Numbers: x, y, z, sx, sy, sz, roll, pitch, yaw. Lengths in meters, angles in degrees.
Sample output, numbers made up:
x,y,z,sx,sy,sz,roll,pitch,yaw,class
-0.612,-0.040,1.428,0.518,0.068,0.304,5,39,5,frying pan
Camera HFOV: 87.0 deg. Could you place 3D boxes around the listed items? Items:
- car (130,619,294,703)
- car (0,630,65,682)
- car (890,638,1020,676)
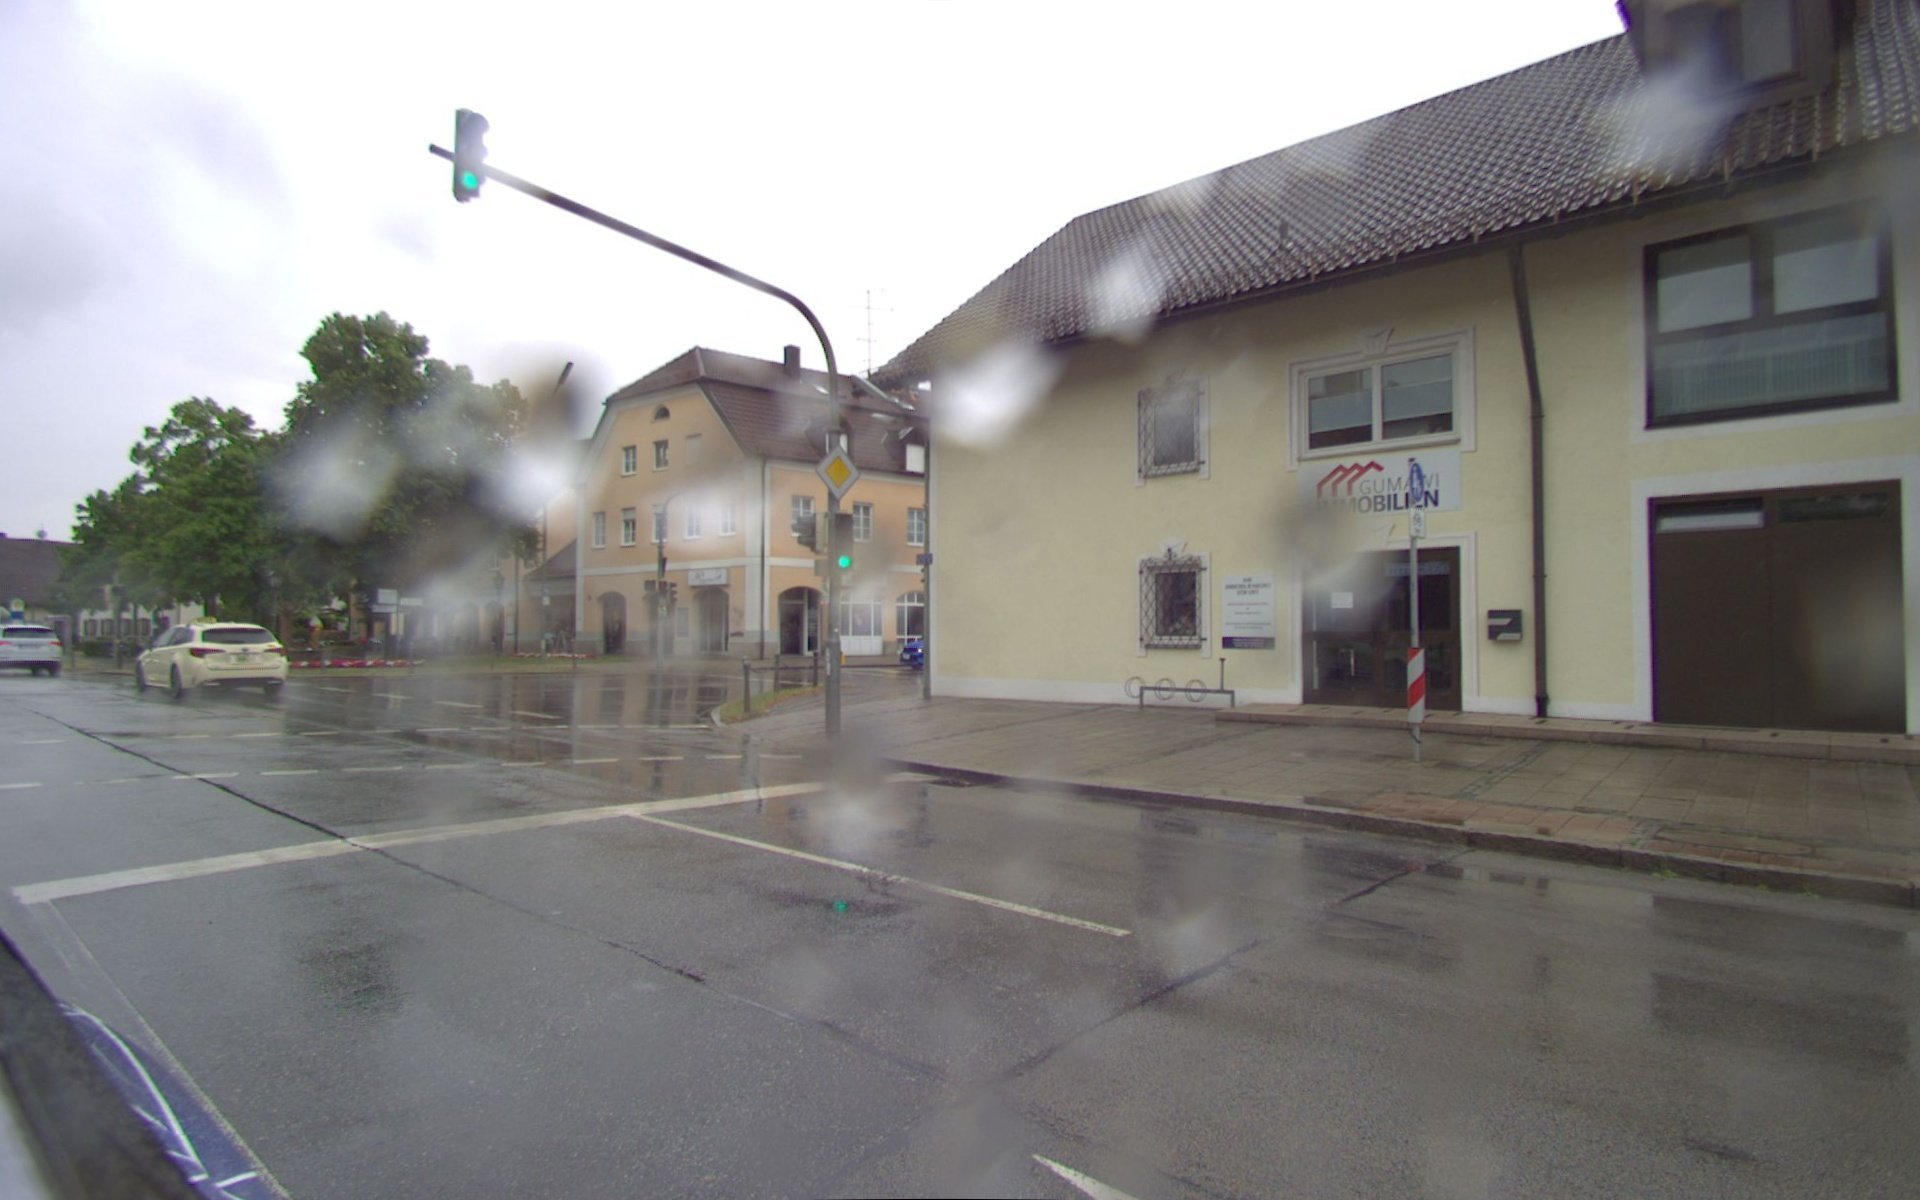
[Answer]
x,y,z,sx,sy,sz,roll,pitch,yaw,class
-15.195,1.184,20.479,4.227,1.523,1.734,-1,-4,41,car
-30.572,1.762,32.640,4.122,1.578,1.907,-1,-3,40,car
-0.144,1.926,34.797,4.288,1.194,1.694,1,-2,-35,car
